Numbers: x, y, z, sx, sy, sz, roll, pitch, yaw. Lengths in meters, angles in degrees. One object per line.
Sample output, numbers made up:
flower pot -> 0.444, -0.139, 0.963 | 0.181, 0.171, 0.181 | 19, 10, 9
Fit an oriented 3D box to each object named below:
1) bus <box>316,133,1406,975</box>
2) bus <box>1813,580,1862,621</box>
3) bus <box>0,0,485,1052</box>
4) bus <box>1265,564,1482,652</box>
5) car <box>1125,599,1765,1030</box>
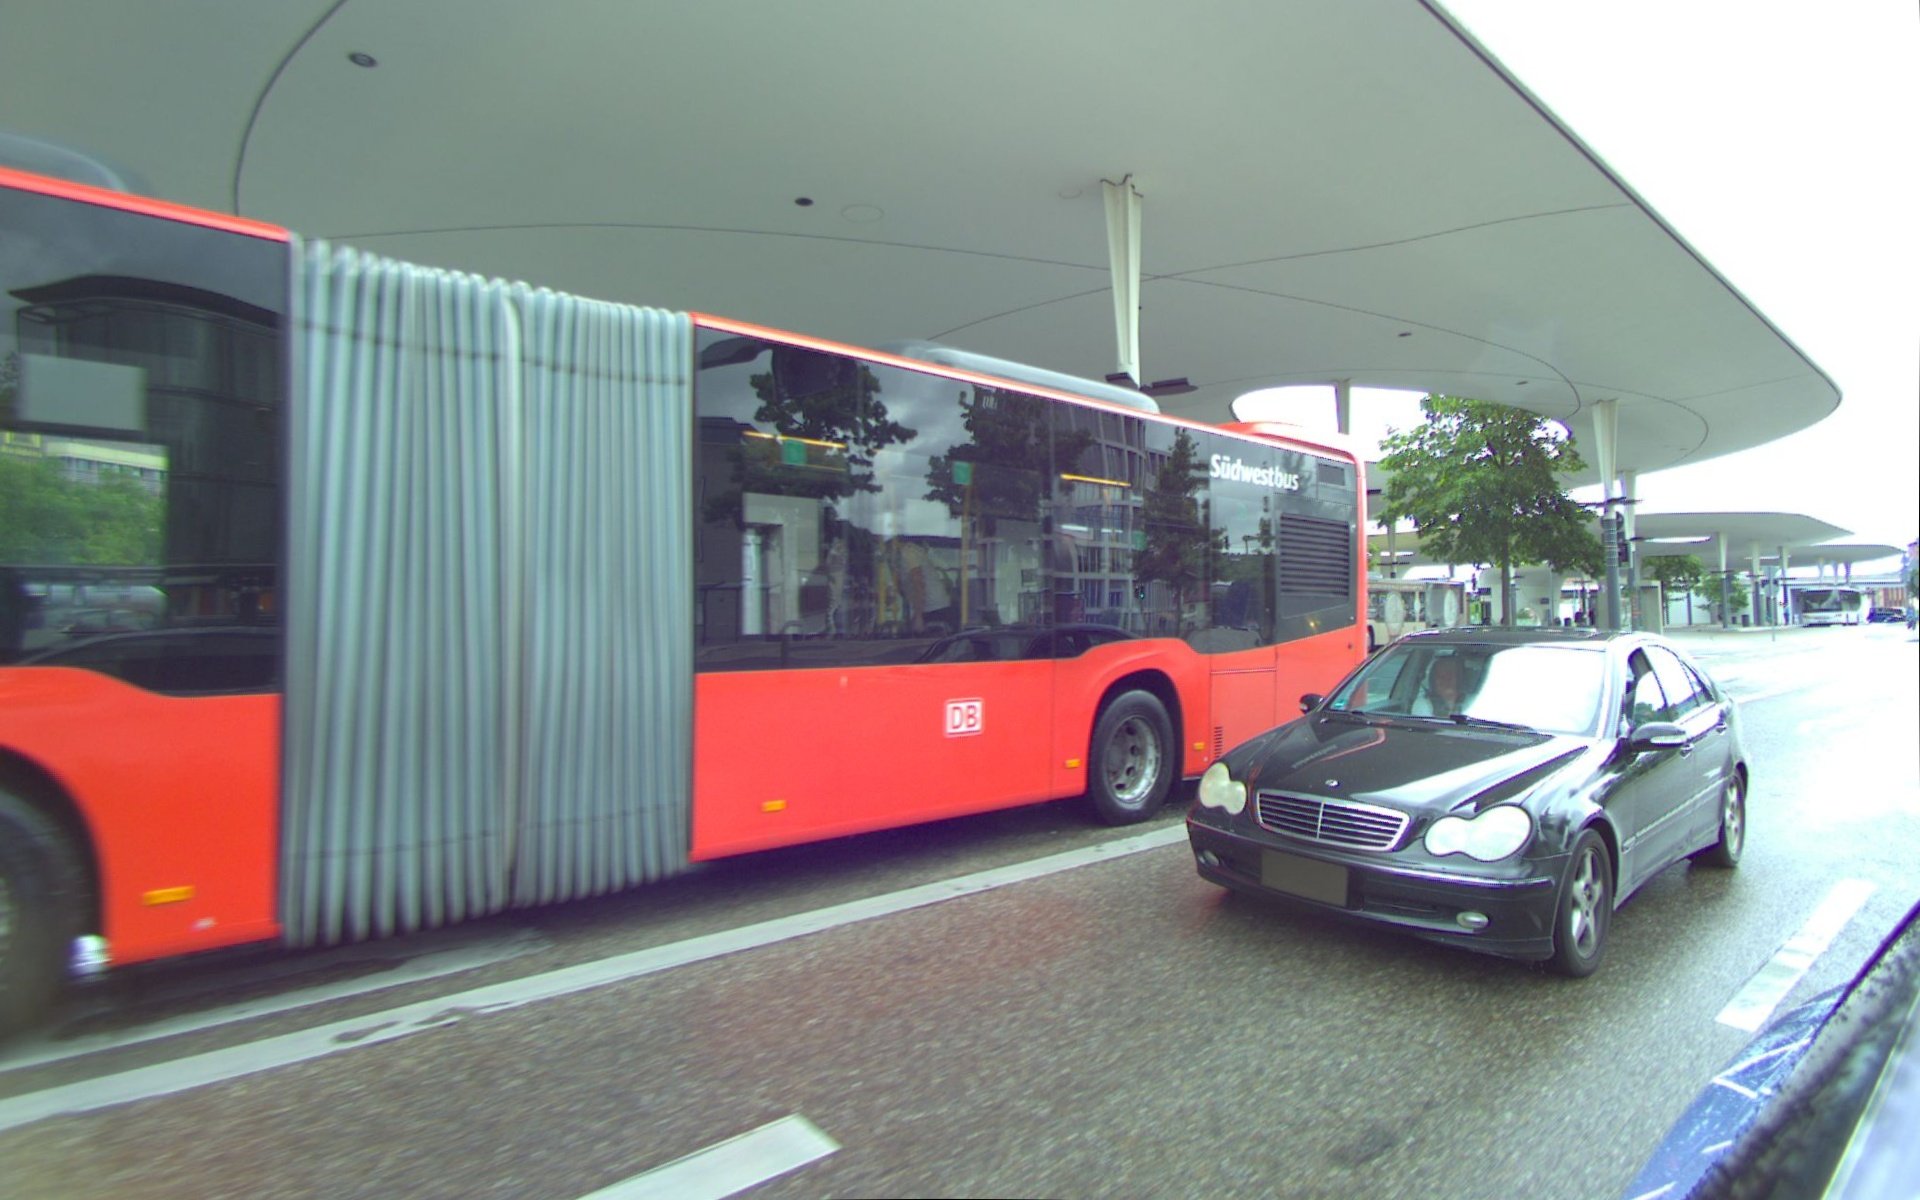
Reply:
bus -> 0.118, -0.172, 7.534 | 7.978, 3.214, 2.747 | 0, 0, -41
bus -> 72.106, 0.068, 83.073 | 2.666, 3.169, 9.565 | -1, -1, 43
bus -> -6.541, -0.252, 1.734 | 10.016, 3.214, 2.747 | 0, 0, -41
bus -> 17.116, 0.308, 41.137 | 12.137, 3.146, 3.001 | 0, -1, -41
car -> 2.973, 0.756, 5.662 | 4.360, 1.499, 1.747 | 0, -1, -43
